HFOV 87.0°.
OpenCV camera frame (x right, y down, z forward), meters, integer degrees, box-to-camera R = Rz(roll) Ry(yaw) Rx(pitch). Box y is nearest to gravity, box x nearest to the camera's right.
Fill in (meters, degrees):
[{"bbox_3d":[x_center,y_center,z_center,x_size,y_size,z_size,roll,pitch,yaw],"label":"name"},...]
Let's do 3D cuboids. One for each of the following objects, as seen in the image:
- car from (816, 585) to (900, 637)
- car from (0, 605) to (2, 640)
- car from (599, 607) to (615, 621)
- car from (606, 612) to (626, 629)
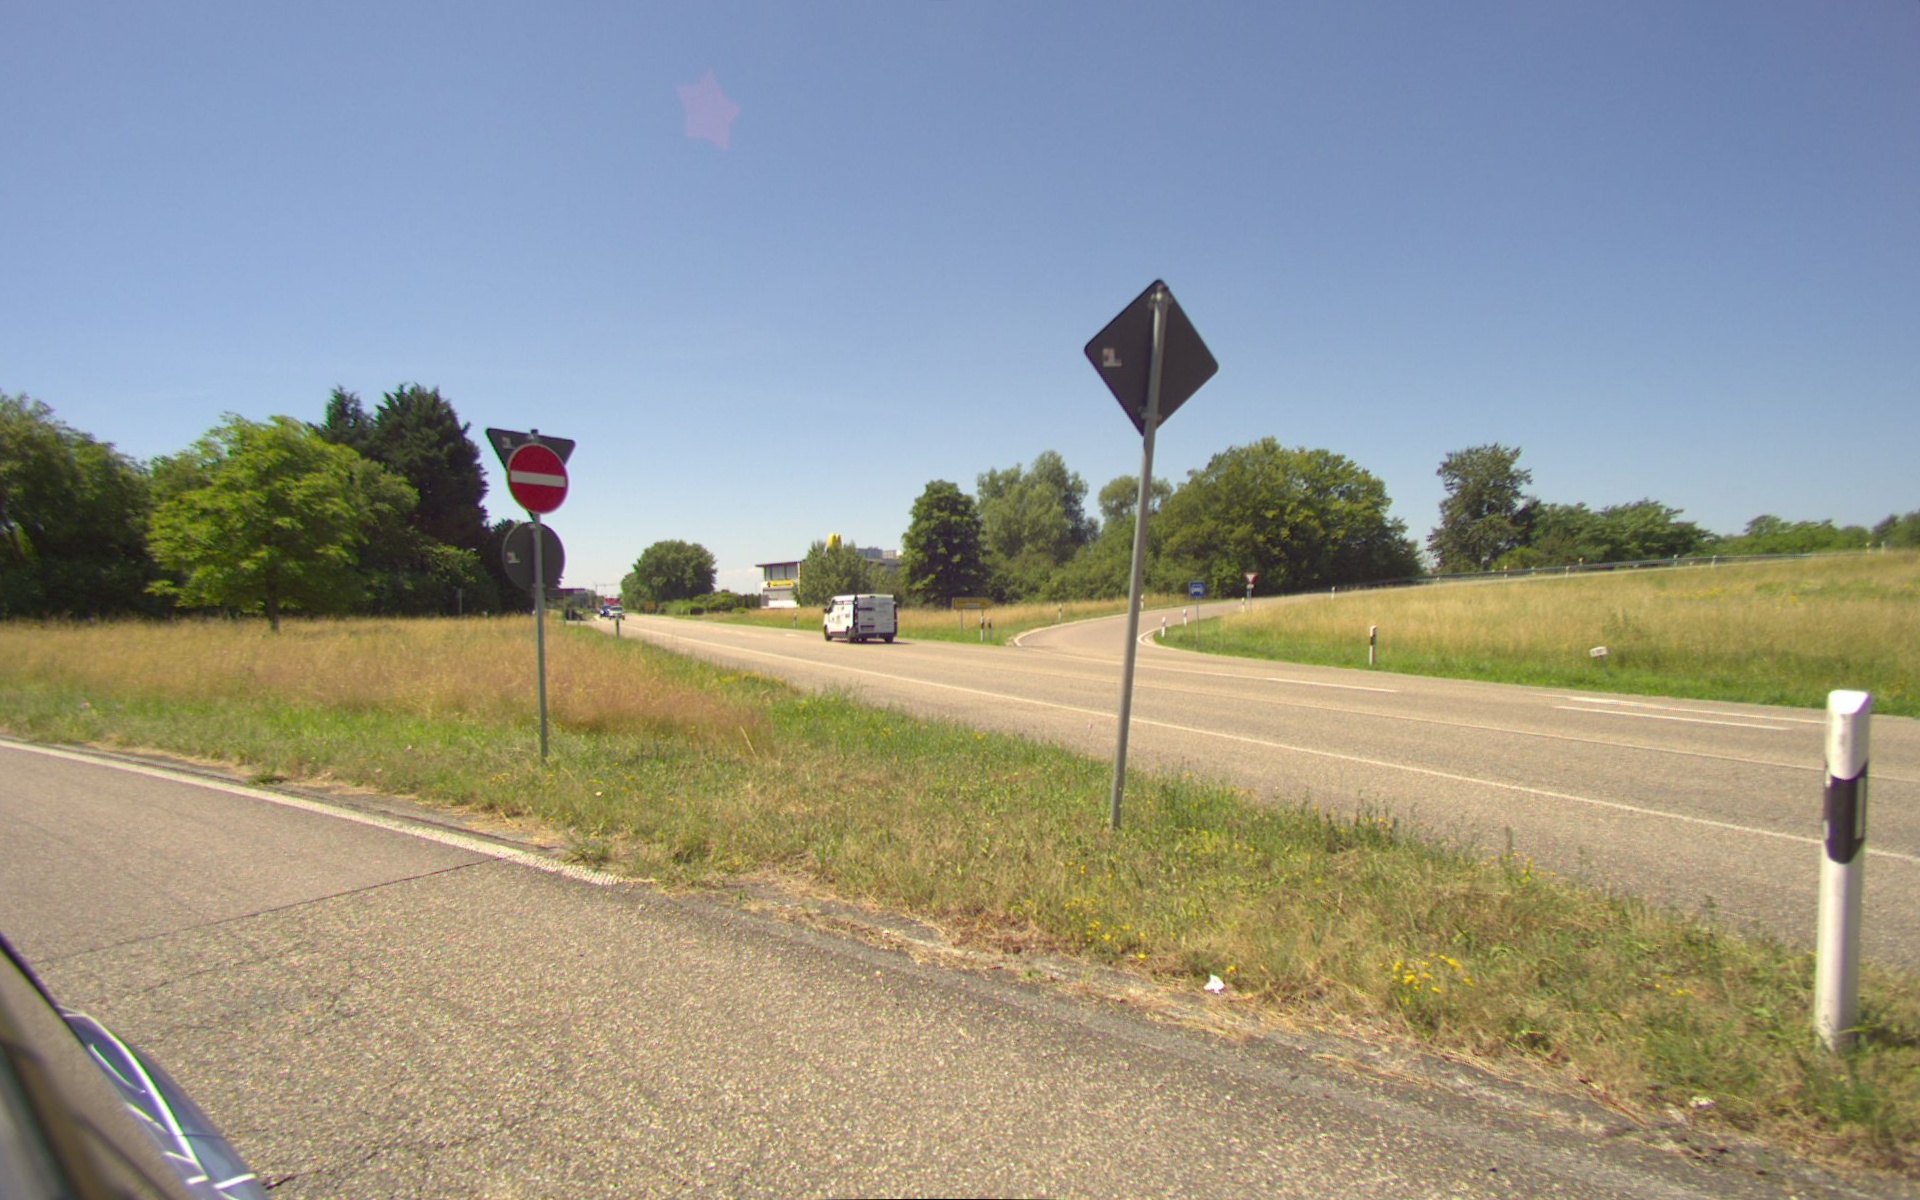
[{"bbox_3d":[-4.334,0.519,42.085,1.882,1.976,5.411,0,-3,-24],"label":"car"},{"bbox_3d":[-45.826,1.029,45.447,1.856,1.608,3.944,-3,-3,42],"label":"car"},{"bbox_3d":[-48.260,1.928,138.376,1.882,1.795,4.470,0,-3,-22],"label":"car"},{"bbox_3d":[-40.672,2.444,119.607,1.882,1.976,4.470,0,-3,-22],"label":"car"}]
